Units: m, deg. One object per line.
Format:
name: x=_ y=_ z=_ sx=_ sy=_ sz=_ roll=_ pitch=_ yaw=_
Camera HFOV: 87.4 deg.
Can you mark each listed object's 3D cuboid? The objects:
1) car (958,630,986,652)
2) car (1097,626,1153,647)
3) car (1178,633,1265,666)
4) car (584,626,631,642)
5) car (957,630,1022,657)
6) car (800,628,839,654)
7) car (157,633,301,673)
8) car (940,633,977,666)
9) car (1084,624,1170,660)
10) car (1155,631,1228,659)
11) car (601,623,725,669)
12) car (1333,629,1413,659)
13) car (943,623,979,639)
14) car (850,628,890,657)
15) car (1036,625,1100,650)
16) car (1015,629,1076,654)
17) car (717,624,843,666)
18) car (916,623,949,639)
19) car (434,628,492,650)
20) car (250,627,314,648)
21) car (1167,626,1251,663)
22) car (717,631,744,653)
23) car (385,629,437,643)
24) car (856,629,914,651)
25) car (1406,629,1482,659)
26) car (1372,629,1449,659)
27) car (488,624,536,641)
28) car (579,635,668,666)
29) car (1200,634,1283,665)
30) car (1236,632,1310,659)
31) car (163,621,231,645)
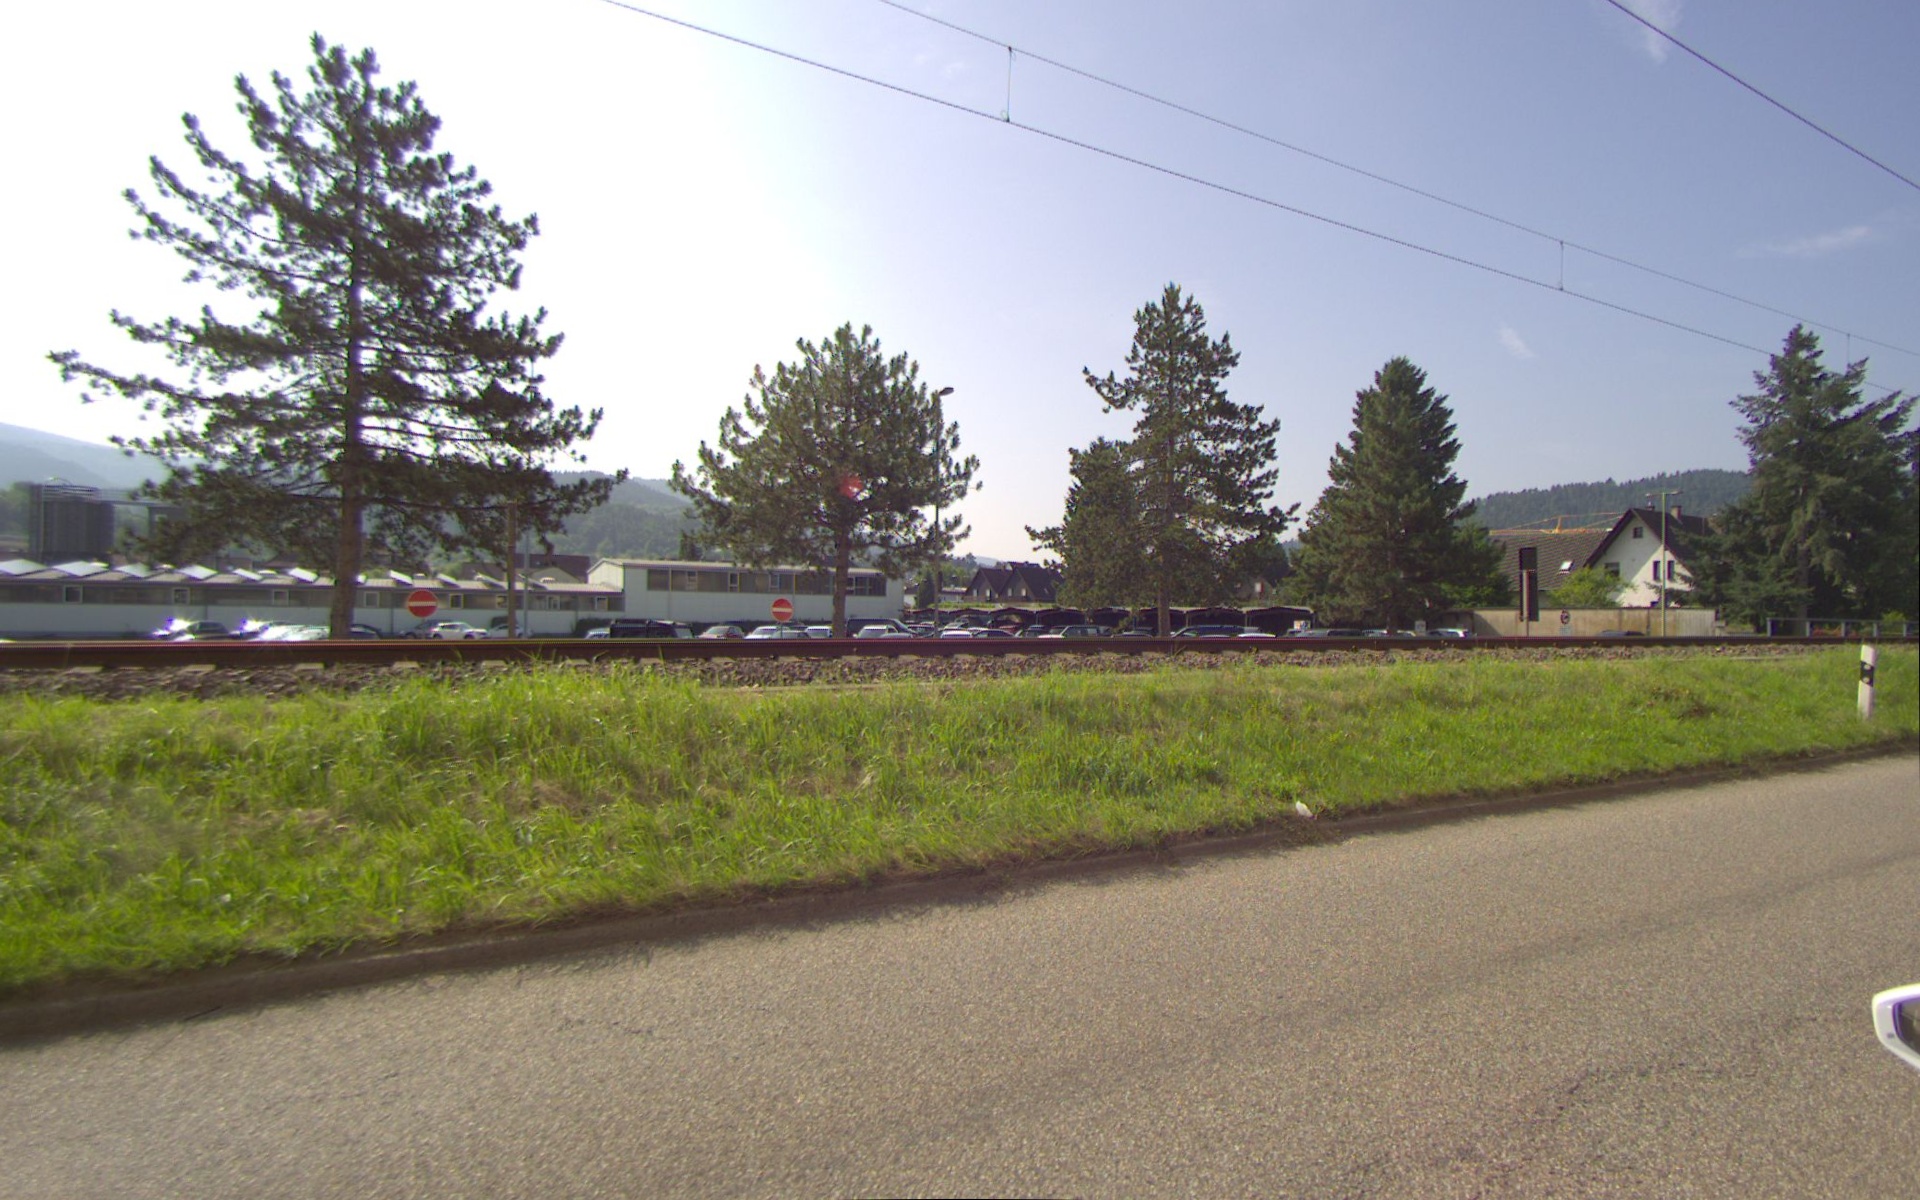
car: x=0.741 y=2.576 z=64.056 sx=1.429 sy=1.343 sz=3.535 roll=0 pitch=-2 yaw=-4
car: x=10.903 y=2.423 z=66.604 sx=3.488 sy=1.343 sz=1.449 roll=-1 pitch=-2 yaw=44
car: x=11.234 y=2.124 z=43.340 sx=3.465 sy=1.343 sz=1.458 roll=0 pitch=-2 yaw=7
car: x=-30.022 y=2.927 z=85.534 sx=3.497 sy=1.343 sz=1.445 roll=1 pitch=-2 yaw=-32
car: x=1.638 y=2.361 z=54.997 sx=3.465 sy=1.412 sz=1.458 roll=0 pitch=-2 yaw=7
car: x=-7.561 y=2.217 z=54.414 sx=1.428 sy=1.343 sz=3.538 roll=0 pitch=-2 yaw=3
car: x=-24.924 y=1.777 z=34.403 sx=1.536 sy=1.278 sz=3.855 roll=0 pitch=-2 yaw=16
car: x=-0.035 y=2.128 z=43.412 sx=1.428 sy=1.343 sz=3.538 roll=0 pitch=-2 yaw=2
car: x=7.428 y=1.870 z=44.866 sx=3.642 sy=1.518 sz=1.683 roll=0 pitch=-1 yaw=5
car: x=11.629 y=2.266 z=50.671 sx=3.465 sy=1.343 sz=1.458 roll=0 pitch=-2 yaw=7
car: x=-9.318 y=1.432 z=31.571 sx=3.450 sy=1.375 sz=1.520 roll=0 pitch=-2 yaw=14
car: x=24.116 y=2.538 z=58.720 sx=1.802 sy=1.557 sz=3.956 roll=1 pitch=0 yaw=-38
car: x=0.088 y=2.630 z=84.845 sx=1.432 sy=1.343 sz=3.528 roll=-1 pitch=-2 yaw=32
car: x=-4.331 y=2.037 z=48.830 sx=1.428 sy=1.343 sz=3.538 roll=0 pitch=-2 yaw=3
car: x=5.997 y=2.080 z=55.509 sx=3.465 sy=1.343 sz=1.458 roll=0 pitch=-2 yaw=7
car: x=4.977 y=2.384 z=58.111 sx=3.465 sy=1.412 sz=1.458 roll=0 pitch=-2 yaw=7
car: x=-5.937 y=1.471 z=33.316 sx=3.779 sy=1.343 sz=1.566 roll=0 pitch=-2 yaw=8
car: x=-2.372 y=2.673 z=87.409 sx=1.429 sy=1.343 sz=3.535 roll=0 pitch=-2 yaw=24
car: x=-36.401 y=2.830 z=73.632 sx=3.466 sy=1.543 sz=1.567 roll=0 pitch=-2 yaw=3
car: x=-44.143 y=2.421 z=65.421 sx=3.412 sy=1.343 sz=1.430 roll=2 pitch=-2 yaw=-38
car: x=11.901 y=2.117 z=48.194 sx=3.729 sy=1.710 sz=1.647 roll=0 pitch=-1 yaw=6
car: x=-14.673 y=2.669 z=64.376 sx=1.431 sy=1.343 sz=3.532 roll=1 pitch=-2 yaw=-9
car: x=-42.782 y=2.806 z=78.301 sx=3.497 sy=1.125 sz=1.327 roll=1 pitch=-2 yaw=-32
car: x=-4.740 y=2.503 z=63.674 sx=3.465 sy=1.343 sz=1.458 roll=0 pitch=-2 yaw=7
car: x=30.491 y=2.750 z=63.344 sx=1.802 sy=1.688 sz=3.956 roll=1 pitch=0 yaw=-38
car: x=27.850 y=2.710 z=62.180 sx=1.802 sy=1.688 sz=3.956 roll=1 pitch=0 yaw=-38
car: x=-36.510 y=2.683 z=81.860 sx=3.403 sy=1.343 sz=1.434 roll=1 pitch=-2 yaw=-30
car: x=-14.453 y=2.151 z=43.238 sx=3.274 sy=1.285 sz=1.458 roll=0 pitch=-2 yaw=7
car: x=12.726 y=2.227 z=45.559 sx=3.465 sy=1.343 sz=1.458 roll=0 pitch=-2 yaw=7
car: x=16.401 y=2.359 z=52.750 sx=1.447 sy=1.343 sz=3.492 roll=2 pitch=-2 yaw=-43
car: x=-48.918 y=2.113 z=64.443 sx=3.434 sy=1.465 sz=1.564 roll=2 pitch=-2 yaw=-38
